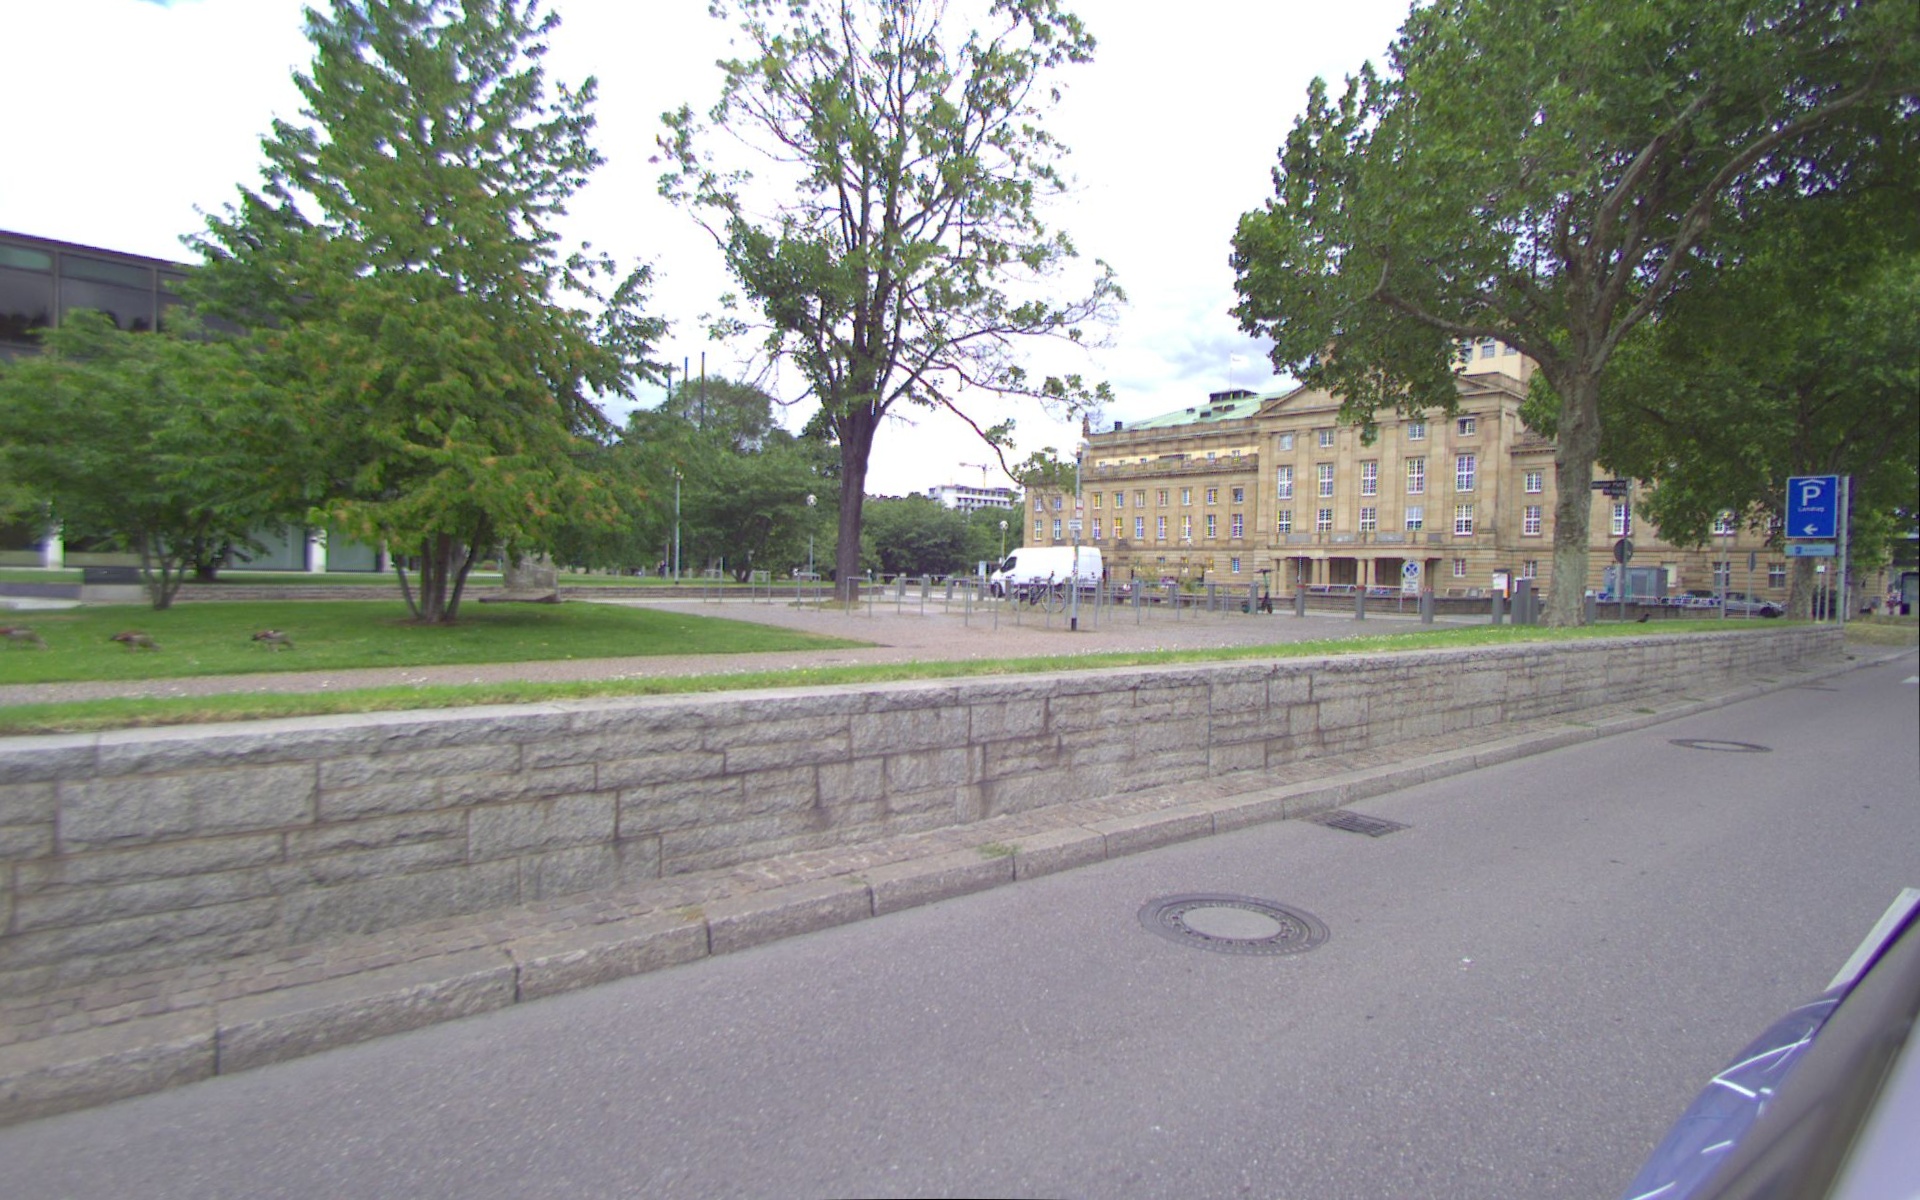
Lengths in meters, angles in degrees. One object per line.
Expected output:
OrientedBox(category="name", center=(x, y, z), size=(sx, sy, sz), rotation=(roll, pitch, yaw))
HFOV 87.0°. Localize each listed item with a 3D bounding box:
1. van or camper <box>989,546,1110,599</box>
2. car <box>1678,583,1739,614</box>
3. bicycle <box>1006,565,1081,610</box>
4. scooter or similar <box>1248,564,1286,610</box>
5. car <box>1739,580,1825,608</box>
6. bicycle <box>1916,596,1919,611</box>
OrientedBox(category="van or camper", center=(4.184, -1.305, 48.127), size=(2.281, 2.348, 5.705), rotation=(-2, 2, -42))
OrientedBox(category="car", center=(40.487, -0.067, 54.737), size=(4.143, 1.537, 1.767), rotation=(2, 1, -41))
OrientedBox(category="bicycle", center=(2.270, -0.365, 27.795), size=(0.674, 1.155, 2.196), rotation=(0, 2, -41))
OrientedBox(category="scooter or similar", center=(8.646, -0.372, 28.483), size=(0.716, 1.261, 0.717), rotation=(-1, 4, -43))
OrientedBox(category="car", center=(50.339, -0.374, 62.019), size=(3.987, 1.616, 1.707), rotation=(-1, 0, 45))
OrientedBox(category="bicycle", center=(68.426, 0.252, 71.019), size=(1.833, 1.085, 0.610), rotation=(2, 1, 40))
